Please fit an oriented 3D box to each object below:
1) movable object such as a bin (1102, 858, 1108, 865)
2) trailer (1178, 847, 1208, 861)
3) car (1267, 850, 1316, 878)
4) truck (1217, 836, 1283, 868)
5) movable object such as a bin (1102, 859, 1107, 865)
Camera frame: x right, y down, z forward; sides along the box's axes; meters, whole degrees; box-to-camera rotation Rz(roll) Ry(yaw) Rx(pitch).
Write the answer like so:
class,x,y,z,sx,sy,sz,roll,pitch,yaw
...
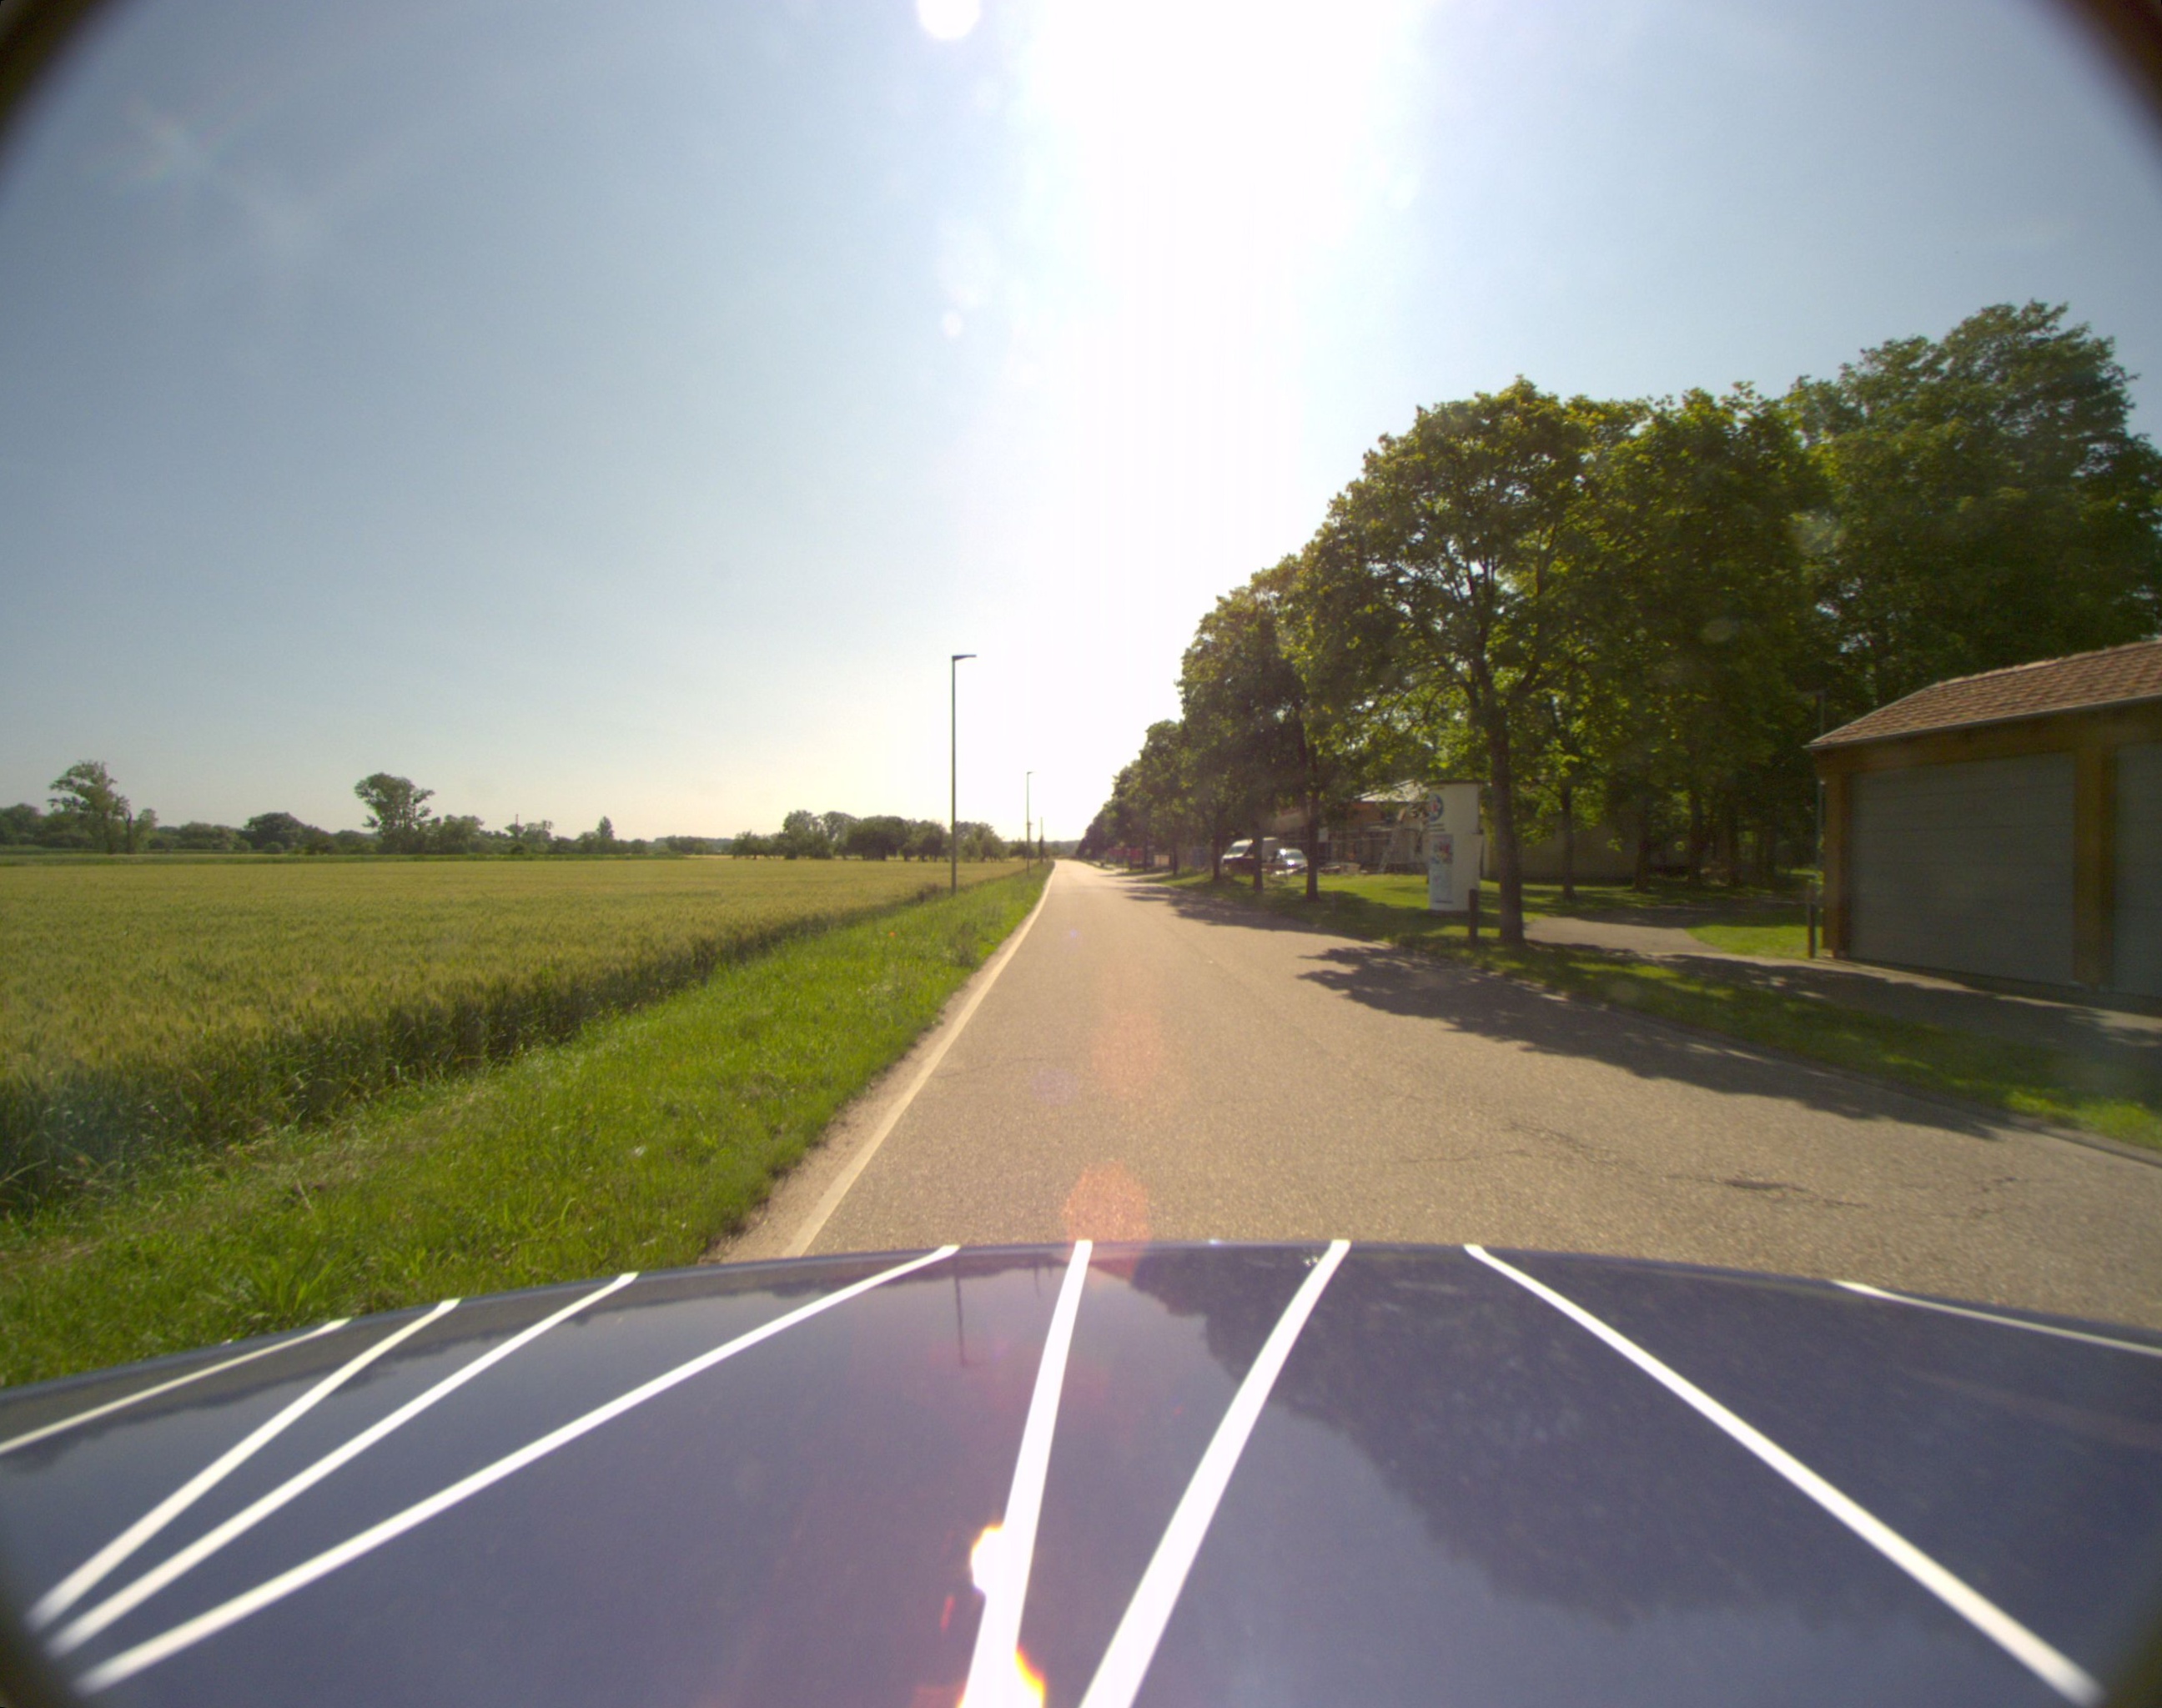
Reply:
class,x,y,z,sx,sy,sz,roll,pitch,yaw
movable object such as a bin,3.295,1.028,103.369,0.700,1.018,0.748,1,0,6
trailer,17.632,0.021,119.810,4.240,2.264,1.826,1,0,-15
car,14.078,0.641,51.052,1.976,1.827,4.327,-1,0,-2
truck,13.936,-0.188,62.405,5.943,2.469,1.994,-1,1,-38
movable object such as a bin,3.209,1.108,102.669,0.563,0.872,0.614,1,1,6
